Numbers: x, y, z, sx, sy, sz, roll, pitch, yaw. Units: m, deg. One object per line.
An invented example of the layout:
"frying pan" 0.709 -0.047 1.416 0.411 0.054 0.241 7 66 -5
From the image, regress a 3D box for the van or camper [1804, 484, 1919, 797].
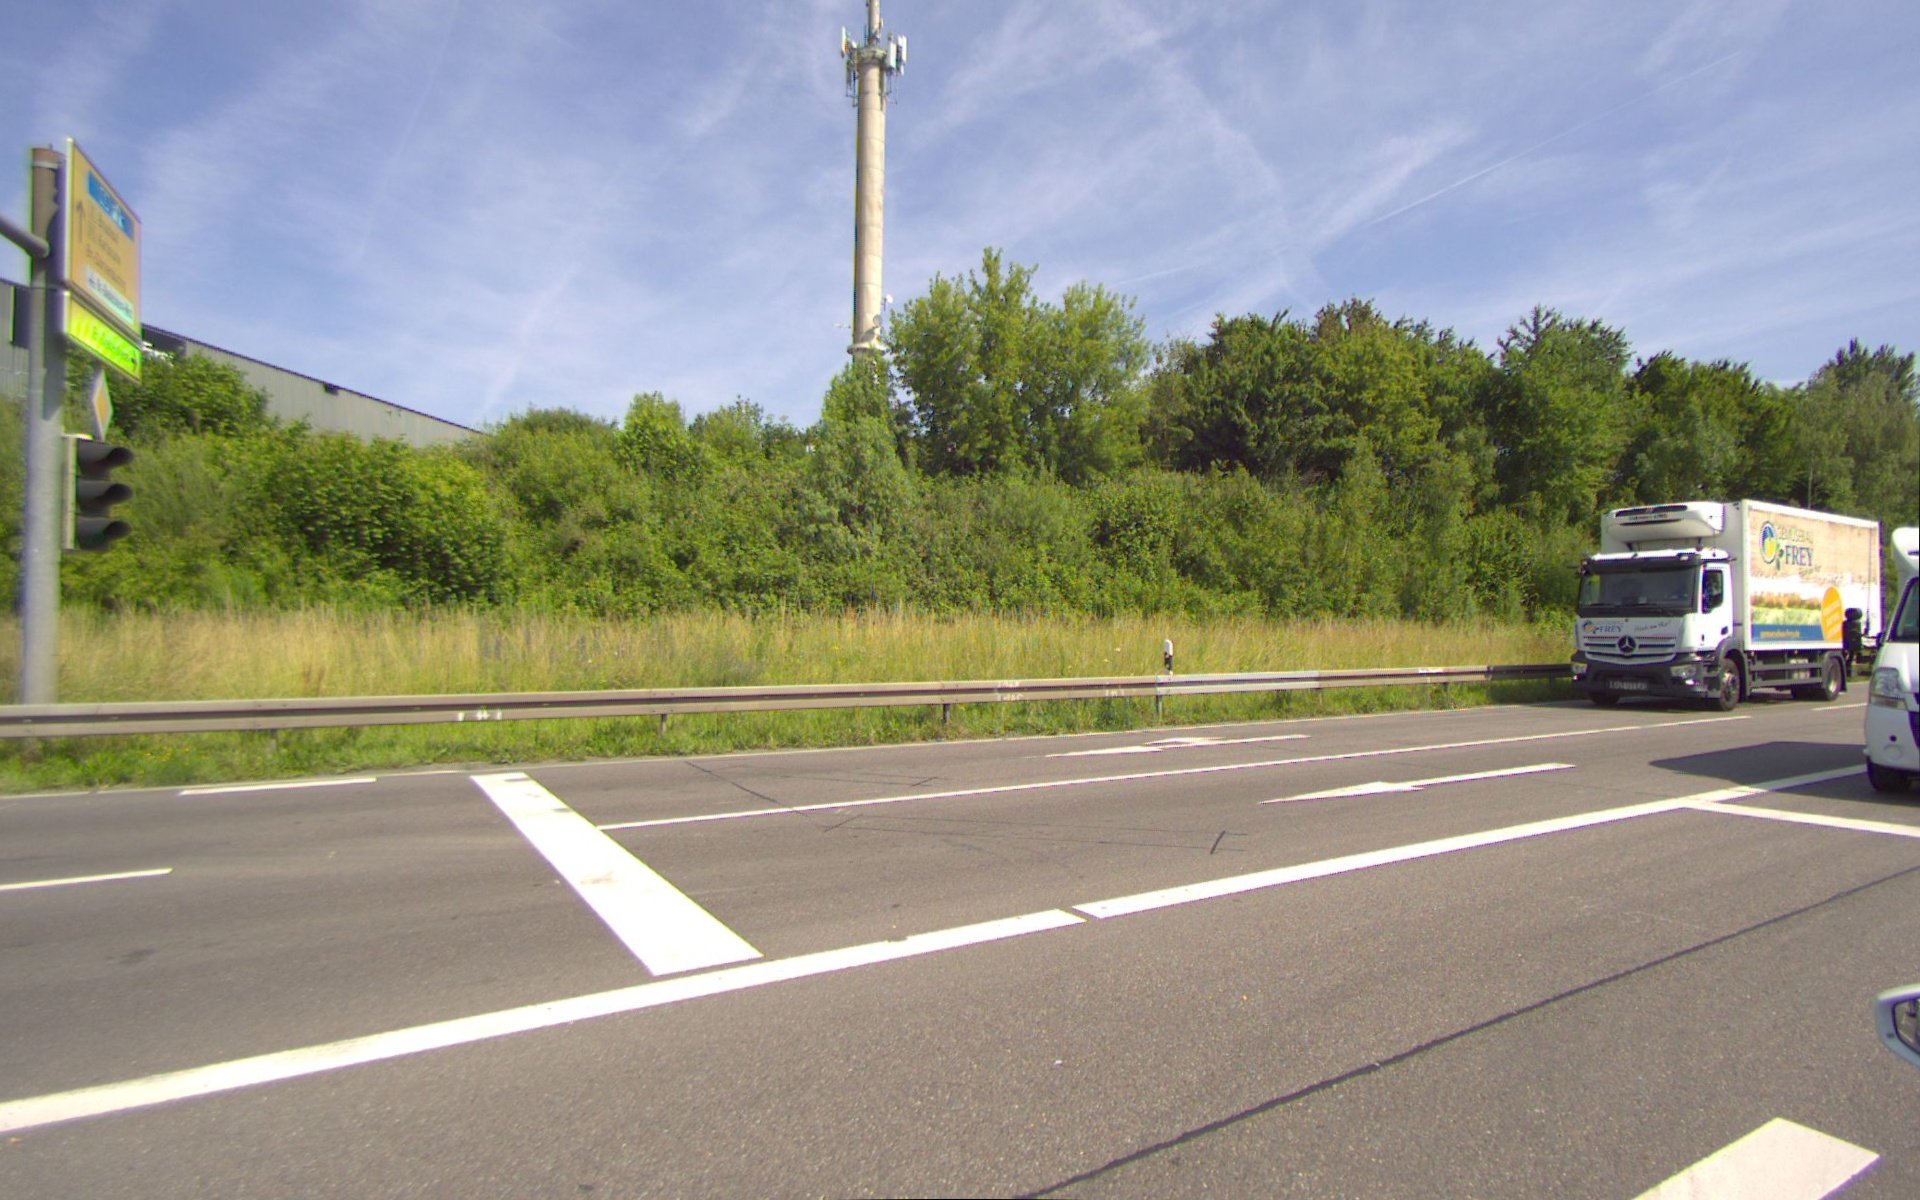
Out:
"van or camper" 11.213 0.408 9.926 6.899 2.634 2.319 1 -2 -31

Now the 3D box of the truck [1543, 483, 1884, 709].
"truck" 16.534 0.057 21.733 9.514 4.051 2.714 1 -2 -32
